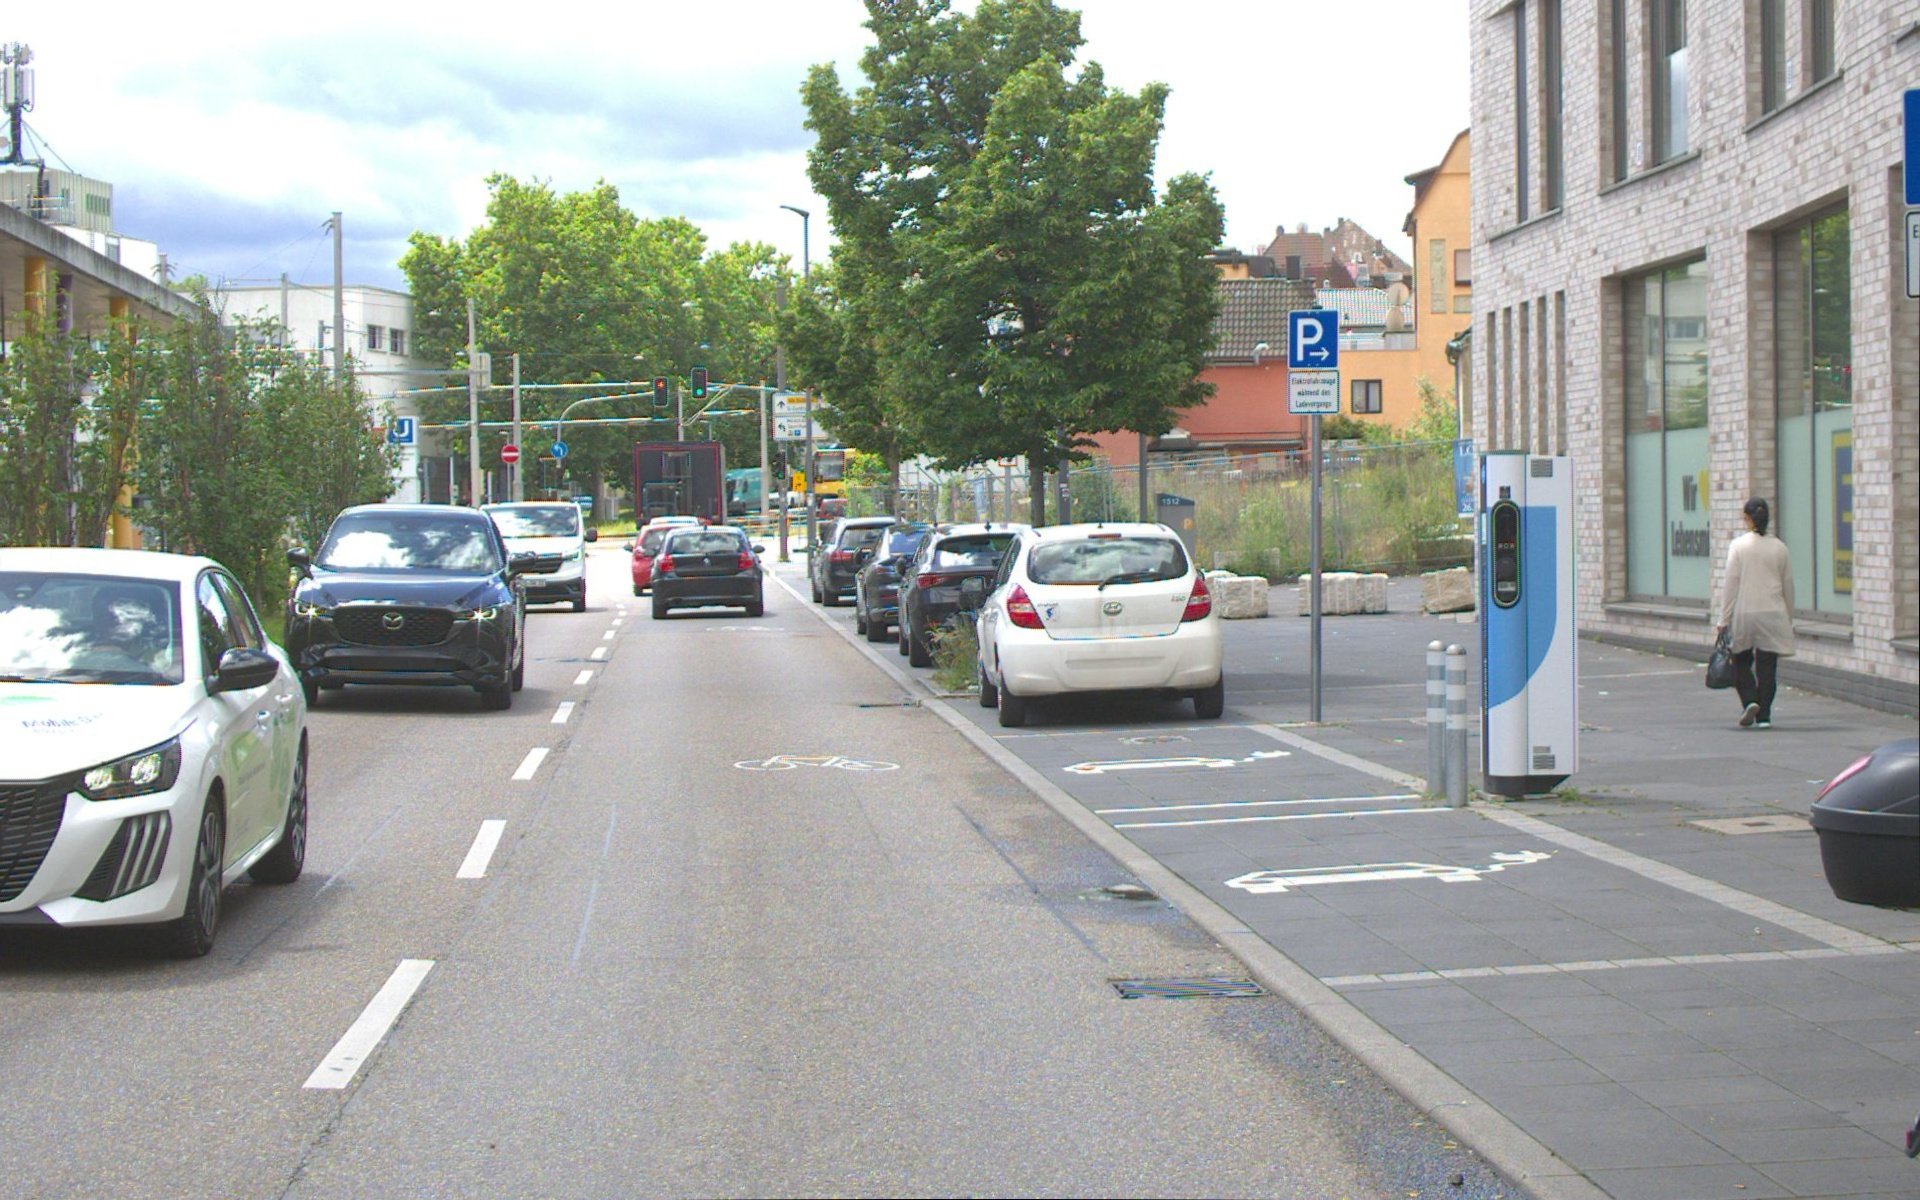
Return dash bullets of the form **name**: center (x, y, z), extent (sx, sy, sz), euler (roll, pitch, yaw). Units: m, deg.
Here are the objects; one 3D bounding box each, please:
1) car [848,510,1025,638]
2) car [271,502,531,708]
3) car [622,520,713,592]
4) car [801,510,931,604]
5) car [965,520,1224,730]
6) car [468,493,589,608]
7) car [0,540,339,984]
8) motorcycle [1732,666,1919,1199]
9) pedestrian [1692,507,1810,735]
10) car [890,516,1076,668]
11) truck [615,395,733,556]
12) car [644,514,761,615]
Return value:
- **car**: center (-0.351, -0.363, 42.989), extent (1.864, 1.446, 4.644), euler (-2, 1, -4)
- **car**: center (-4.681, -0.004, 29.326), extent (1.919, 1.599, 4.628), euler (1, 1, -6)
- **car**: center (-6.064, -0.930, 70.995), extent (1.711, 1.388, 3.810), euler (-2, 2, -7)
- **car**: center (-1.615, -0.743, 57.503), extent (1.781, 1.446, 4.477), euler (-2, 2, -6)
- **car**: center (0.990, 0.137, 27.115), extent (1.692, 1.478, 3.798), euler (-2, 1, -2)
- **car**: center (-7.614, -0.880, 60.344), extent (2.003, 1.910, 5.066), euler (0, 1, -8)
- **car**: center (-3.577, 0.508, 13.391), extent (1.811, 1.464, 3.908), euler (1, 1, -3)
- **motorcycle**: center (2.472, 0.735, 6.179), extent (2.051, 1.261, 0.672), euler (-2, 0, 14)
- **pedestrian**: center (5.233, 0.128, 22.772), extent (0.607, 1.467, 0.791), euler (-2, 1, 4)
- **car**: center (0.187, -0.134, 36.428), extent (1.692, 1.456, 4.147), euler (-2, 1, -3)
- **truck**: center (-8.546, -3.643, 103.734), extent (3.203, 4.520, 9.029), euler (0, 0, -3)
- **car**: center (-4.041, -0.579, 53.723), extent (1.726, 1.451, 3.809), euler (-1, 2, -5)
